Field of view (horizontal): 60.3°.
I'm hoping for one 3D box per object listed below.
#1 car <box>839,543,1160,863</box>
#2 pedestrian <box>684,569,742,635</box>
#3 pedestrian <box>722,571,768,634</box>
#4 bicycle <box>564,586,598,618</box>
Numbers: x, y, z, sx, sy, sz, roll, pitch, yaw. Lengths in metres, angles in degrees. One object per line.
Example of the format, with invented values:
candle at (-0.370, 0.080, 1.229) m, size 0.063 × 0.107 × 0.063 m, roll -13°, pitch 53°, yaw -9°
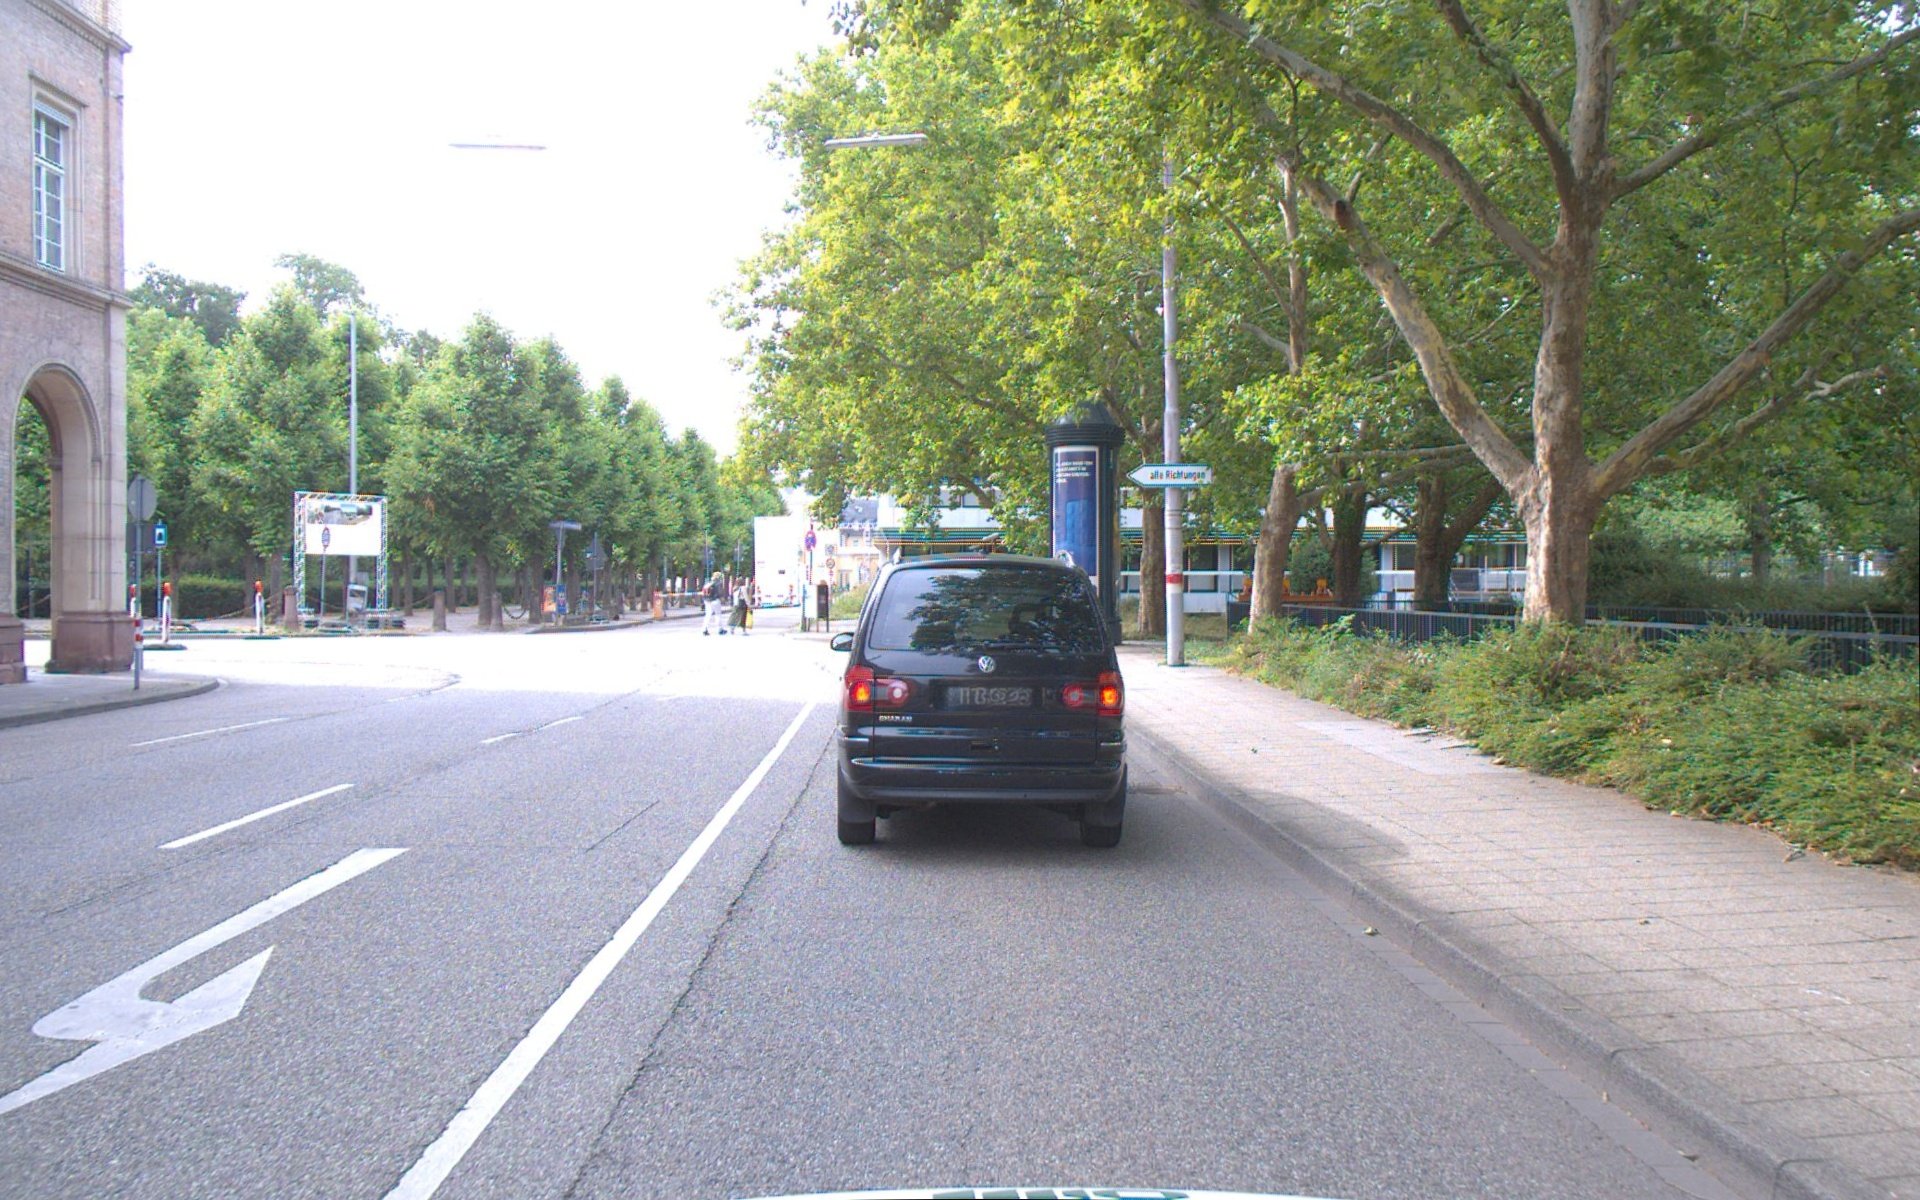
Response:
car at (0.150, 0.533, 11.164) m, size 1.757 × 1.738 × 4.129 m, roll 0°, pitch 1°, yaw -2°
pedestrian at (-6.762, 0.045, 45.243) m, size 0.944 × 1.772 × 1.250 m, roll 2°, pitch 1°, yaw 37°
pedestrian at (-5.836, 0.072, 44.972) m, size 0.880 × 1.670 × 0.850 m, roll 2°, pitch 1°, yaw 34°
bicycle at (-14.191, 0.077, 61.875) m, size 0.937 × 1.129 × 2.566 m, roll 1°, pitch 1°, yaw -19°
